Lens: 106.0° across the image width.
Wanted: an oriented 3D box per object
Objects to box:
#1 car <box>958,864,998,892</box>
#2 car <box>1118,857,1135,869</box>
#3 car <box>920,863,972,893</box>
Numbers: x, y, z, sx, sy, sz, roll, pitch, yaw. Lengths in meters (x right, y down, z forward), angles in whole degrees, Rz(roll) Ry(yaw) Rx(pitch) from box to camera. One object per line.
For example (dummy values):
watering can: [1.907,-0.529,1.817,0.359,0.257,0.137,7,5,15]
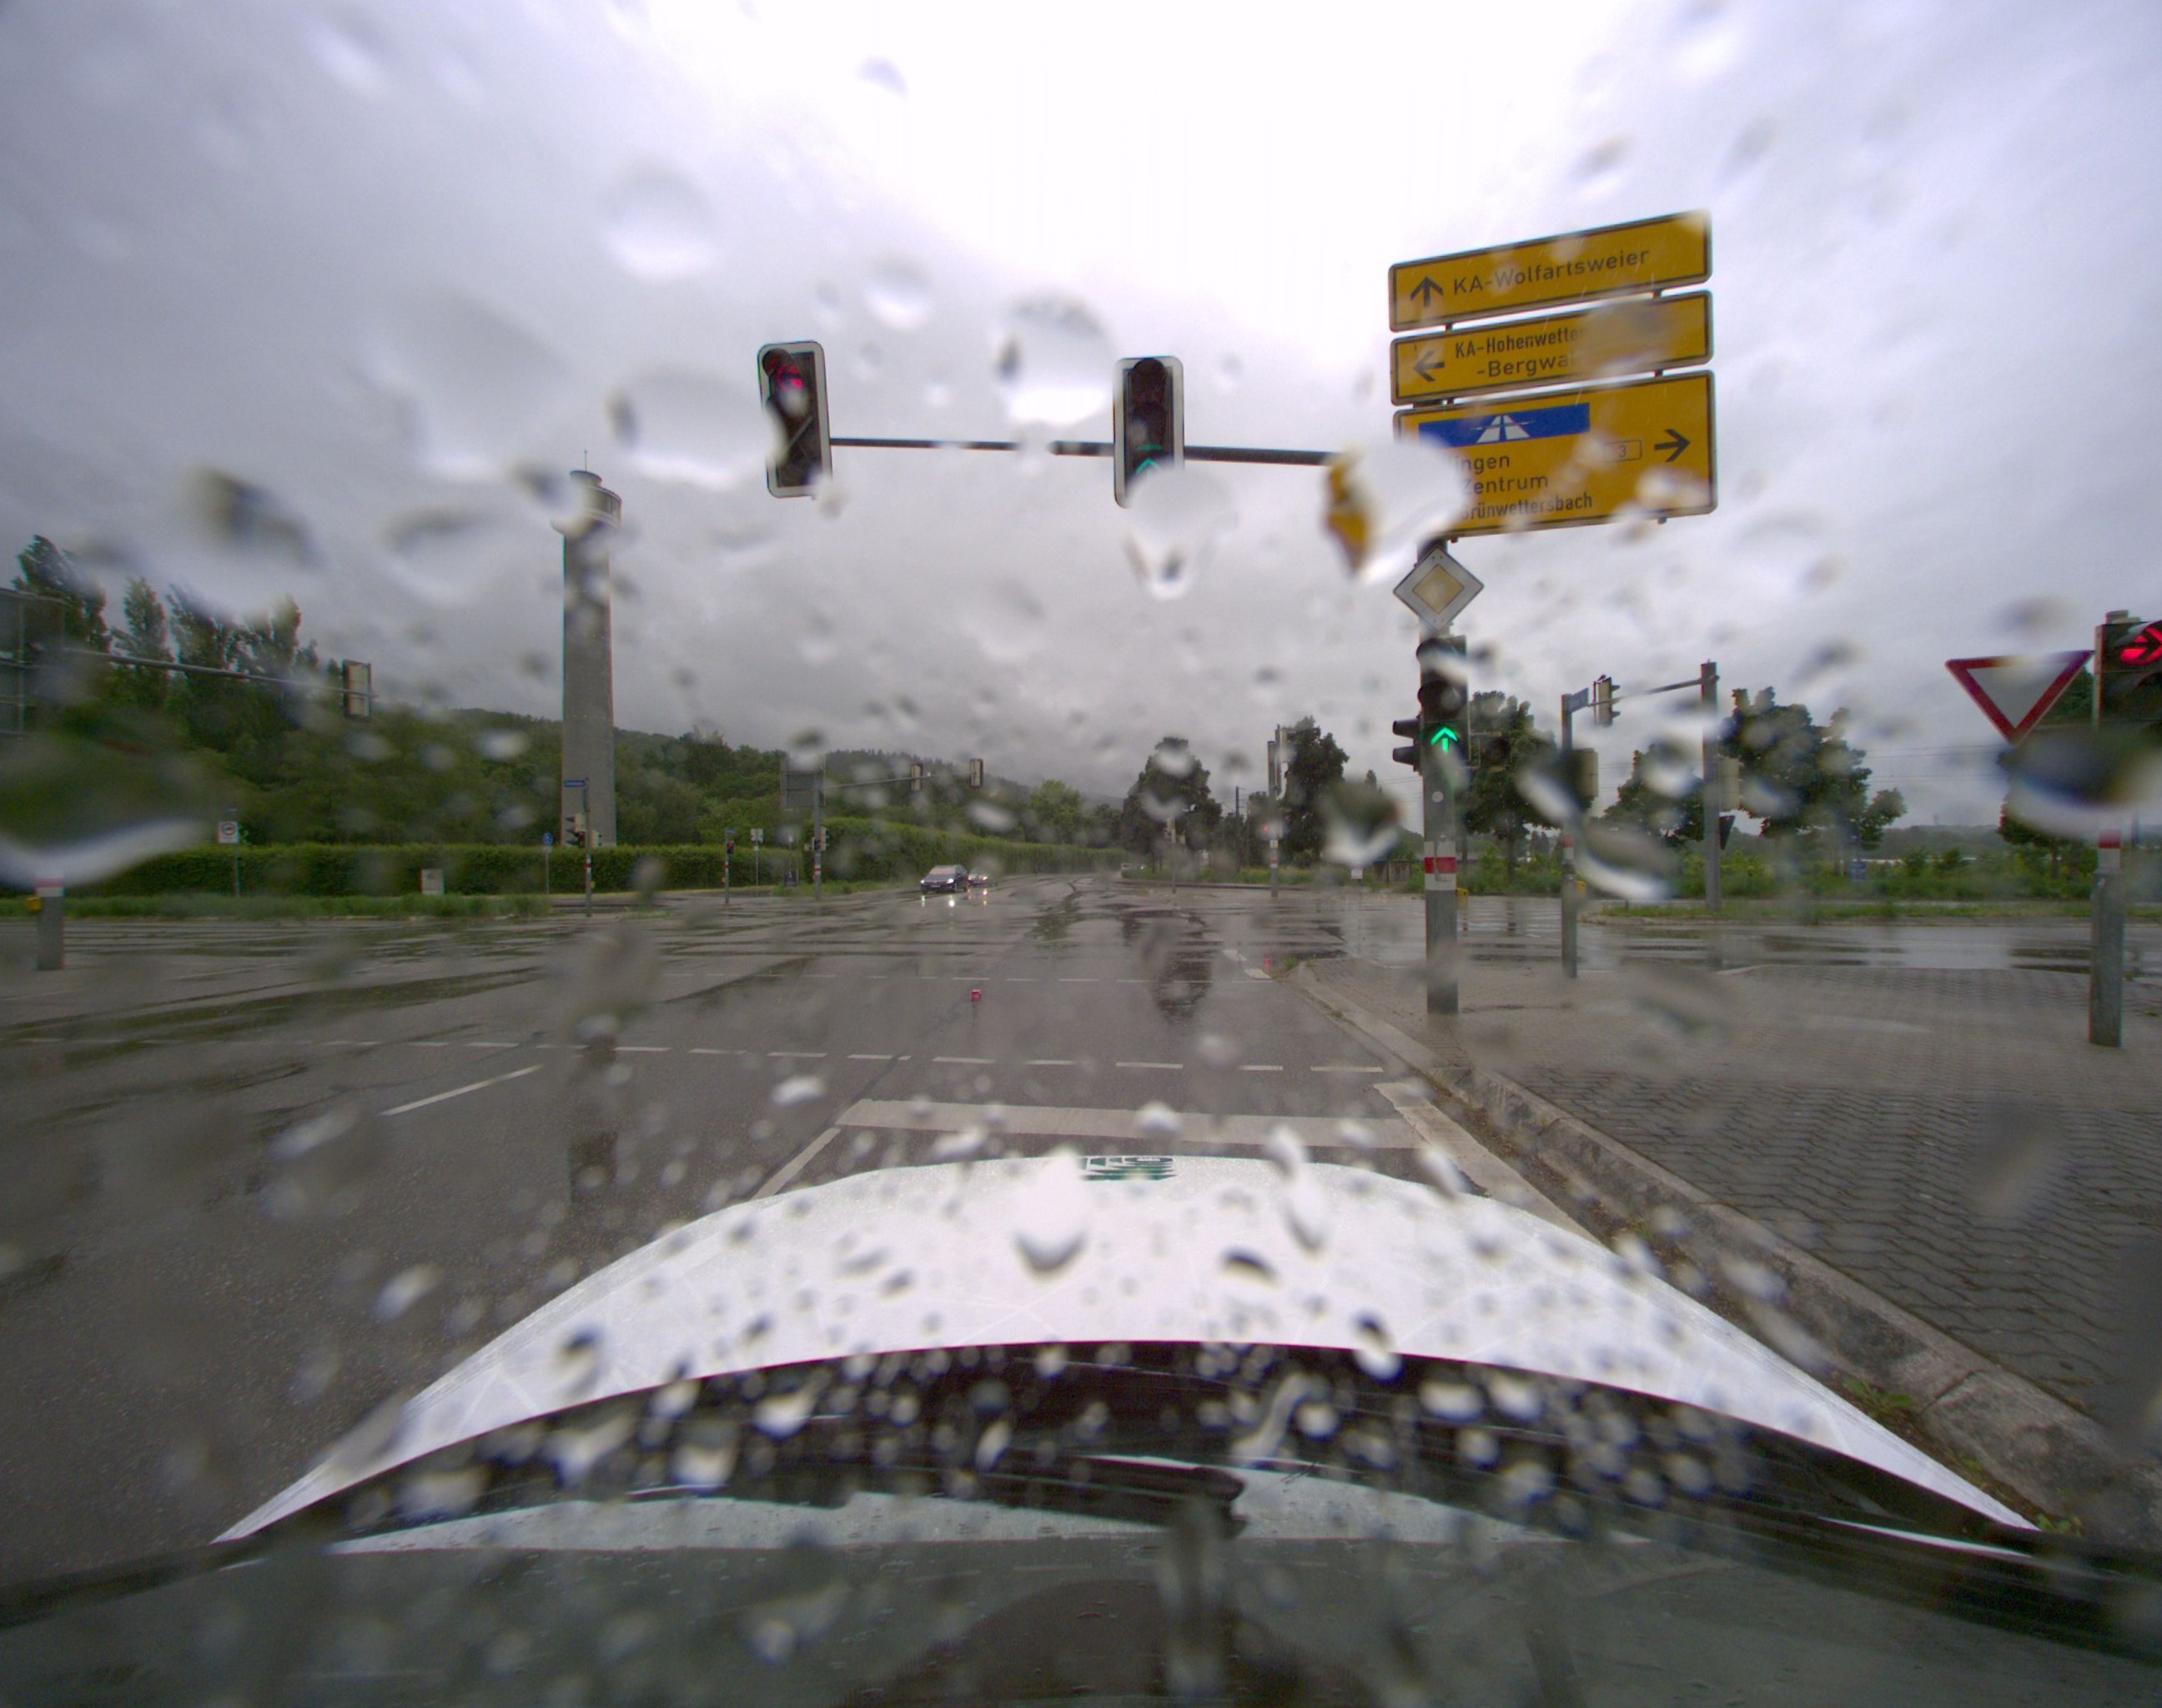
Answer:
car: [-6.795,1.580,54.095,2.029,1.708,4.067,-1,0,2]
car: [7.716,1.552,137.186,1.939,1.904,4.137,-1,0,15]
car: [-7.198,1.268,43.745,1.701,1.466,4.458,-1,0,4]
